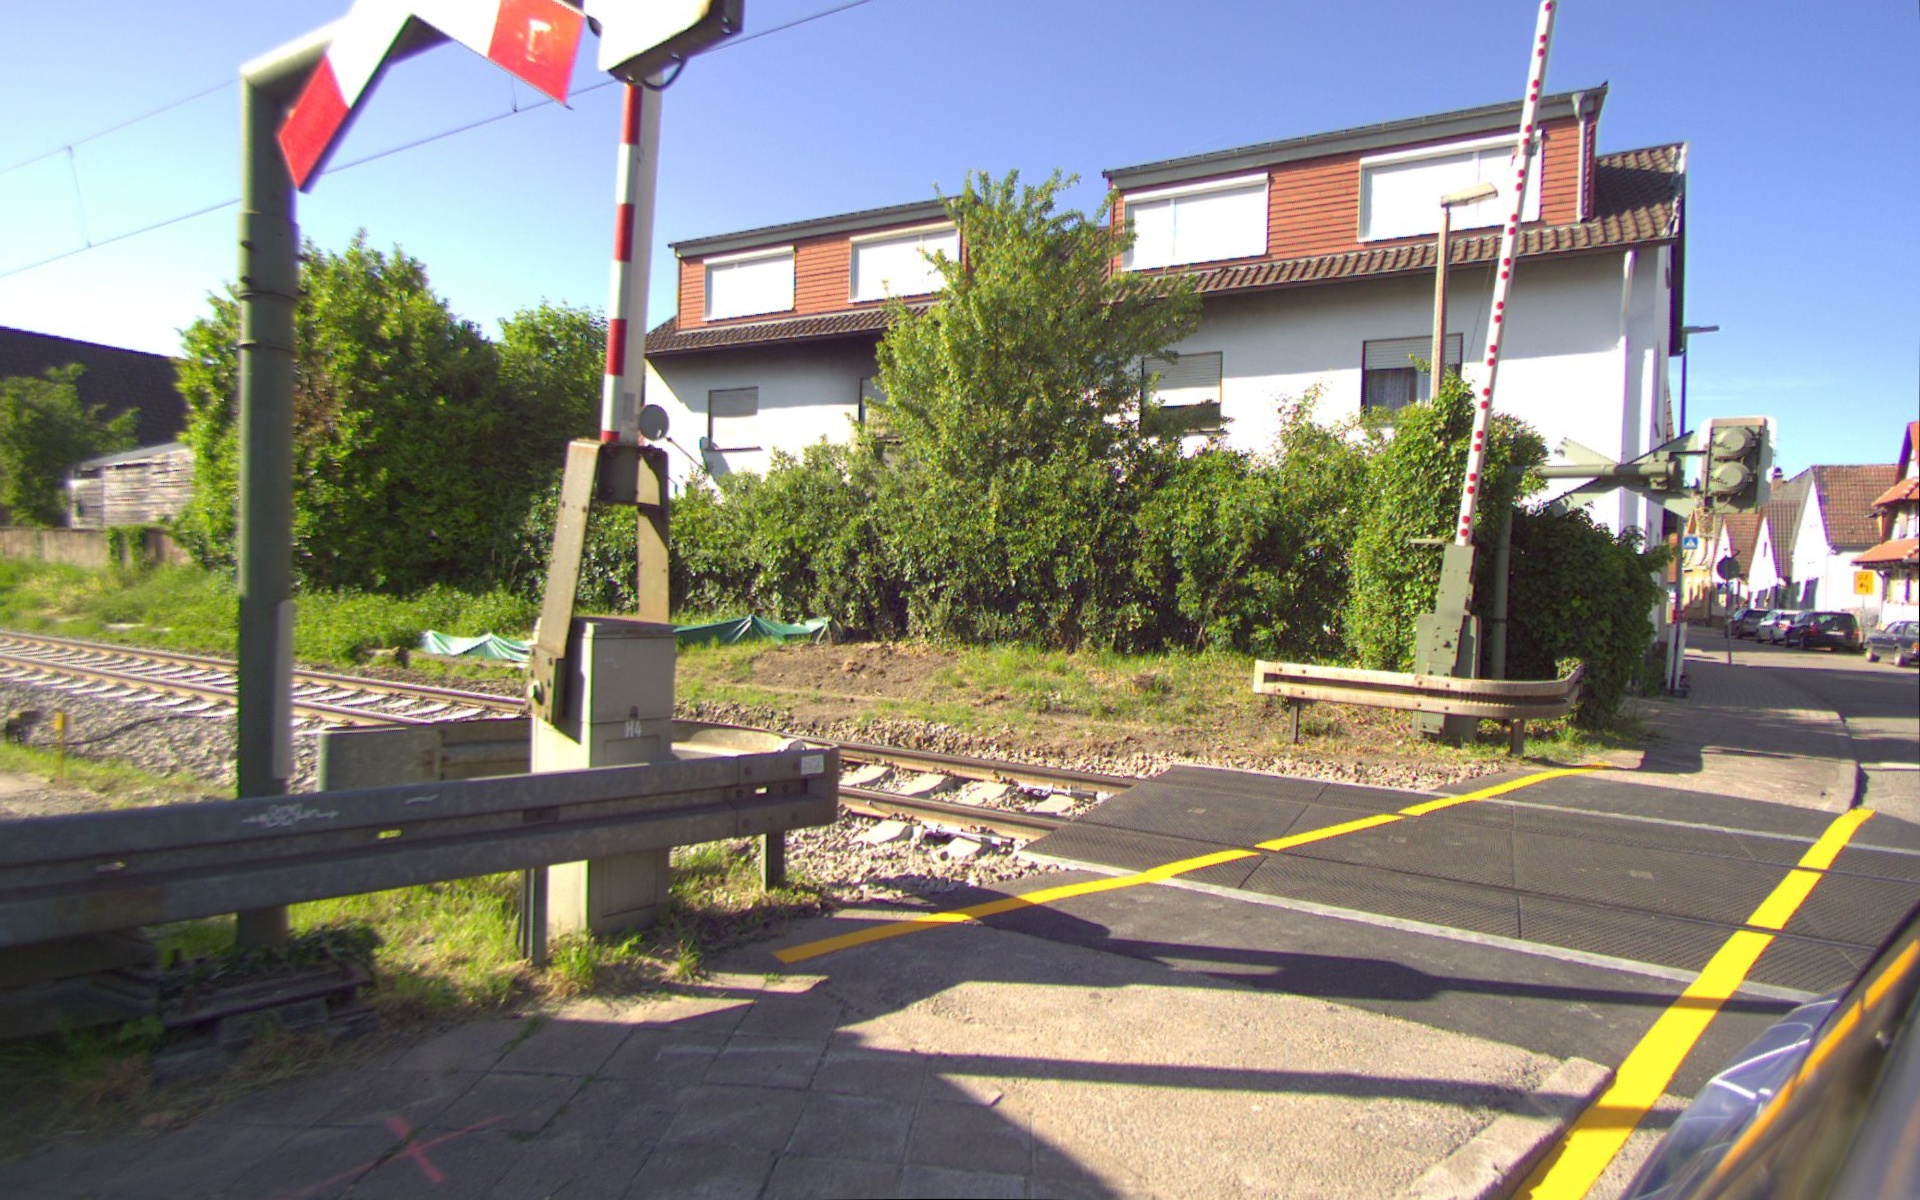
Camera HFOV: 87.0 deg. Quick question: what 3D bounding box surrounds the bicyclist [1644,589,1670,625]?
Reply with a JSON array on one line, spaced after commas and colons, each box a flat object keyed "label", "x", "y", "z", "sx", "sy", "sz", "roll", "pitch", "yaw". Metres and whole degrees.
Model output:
[{"label": "bicyclist", "x": 45.967, "y": 0.456, "z": 66.734, "sx": 1.245, "sy": 2.337, "sz": 1.231, "roll": -1, "pitch": 0, "yaw": 27}]

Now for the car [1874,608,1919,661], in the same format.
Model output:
[{"label": "car", "x": 29.268, "y": 1.069, "z": 30.163, "sx": 1.835, "sy": 1.423, "sz": 4.985, "roll": 4, "pitch": 3, "yaw": 29}]

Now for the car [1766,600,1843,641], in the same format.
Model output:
[{"label": "car", "x": 37.357, "y": 0.858, "z": 44.882, "sx": 1.807, "sy": 1.586, "sz": 4.125, "roll": 3, "pitch": 2, "yaw": 29}]

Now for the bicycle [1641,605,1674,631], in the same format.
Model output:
[{"label": "bicycle", "x": 45.952, "y": 1.138, "z": 66.722, "sx": 1.245, "sy": 1.571, "sz": 3.963, "roll": -1, "pitch": 1, "yaw": 27}]

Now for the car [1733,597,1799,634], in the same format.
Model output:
[{"label": "car", "x": 40.481, "y": 0.744, "z": 50.923, "sx": 1.731, "sy": 1.633, "sz": 3.963, "roll": 2, "pitch": 2, "yaw": 27}]

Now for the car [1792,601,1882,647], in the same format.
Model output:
[{"label": "car", "x": 34.786, "y": 0.907, "z": 40.256, "sx": 1.774, "sy": 1.624, "sz": 4.316, "roll": 3, "pitch": 2, "yaw": 29}]
